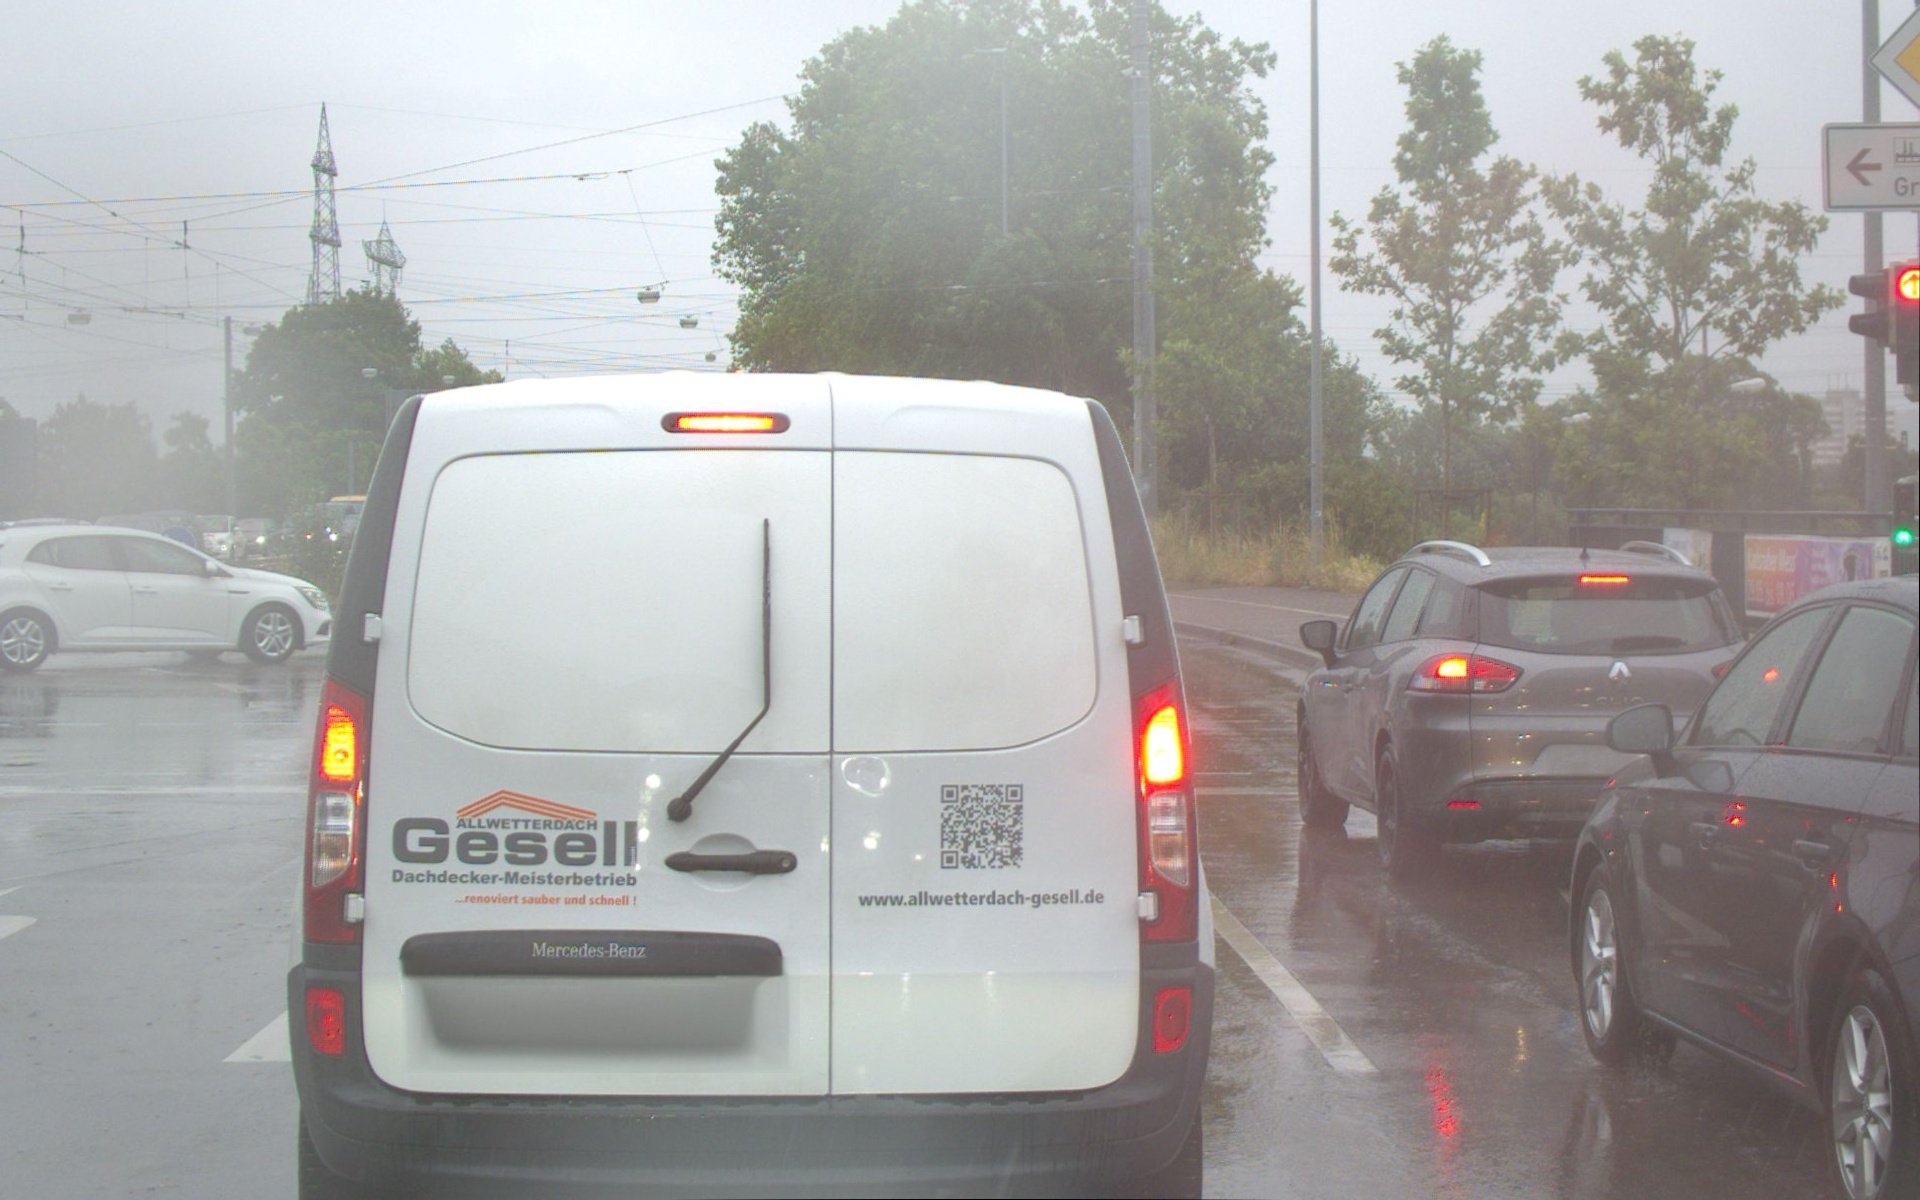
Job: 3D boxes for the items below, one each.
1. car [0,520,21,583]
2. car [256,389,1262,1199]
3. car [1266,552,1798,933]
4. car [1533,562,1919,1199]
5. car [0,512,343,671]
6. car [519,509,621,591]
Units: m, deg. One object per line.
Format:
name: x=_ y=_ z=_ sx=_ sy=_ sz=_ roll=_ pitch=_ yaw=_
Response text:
car: x=-22.530 y=-1.118 z=77.794 sx=1.559 sy=1.421 sz=3.569 roll=2 pitch=0 yaw=-1
car: x=-0.497 y=0.443 z=8.136 sx=1.754 sy=1.744 sz=4.170 roll=1 pitch=2 yaw=-4
car: x=2.494 y=0.553 z=15.889 sx=1.684 sy=1.503 sz=3.921 roll=1 pitch=1 yaw=-1
car: x=2.570 y=0.600 z=8.295 sx=1.597 sy=1.362 sz=3.631 roll=-1 pitch=0 yaw=-3
car: x=-8.718 y=-0.090 z=35.331 sx=4.259 sy=1.496 sz=1.821 roll=2 pitch=0 yaw=-34
car: x=-8.421 y=-1.048 z=74.522 sx=1.947 sy=1.656 sz=4.465 roll=2 pitch=0 yaw=-4
